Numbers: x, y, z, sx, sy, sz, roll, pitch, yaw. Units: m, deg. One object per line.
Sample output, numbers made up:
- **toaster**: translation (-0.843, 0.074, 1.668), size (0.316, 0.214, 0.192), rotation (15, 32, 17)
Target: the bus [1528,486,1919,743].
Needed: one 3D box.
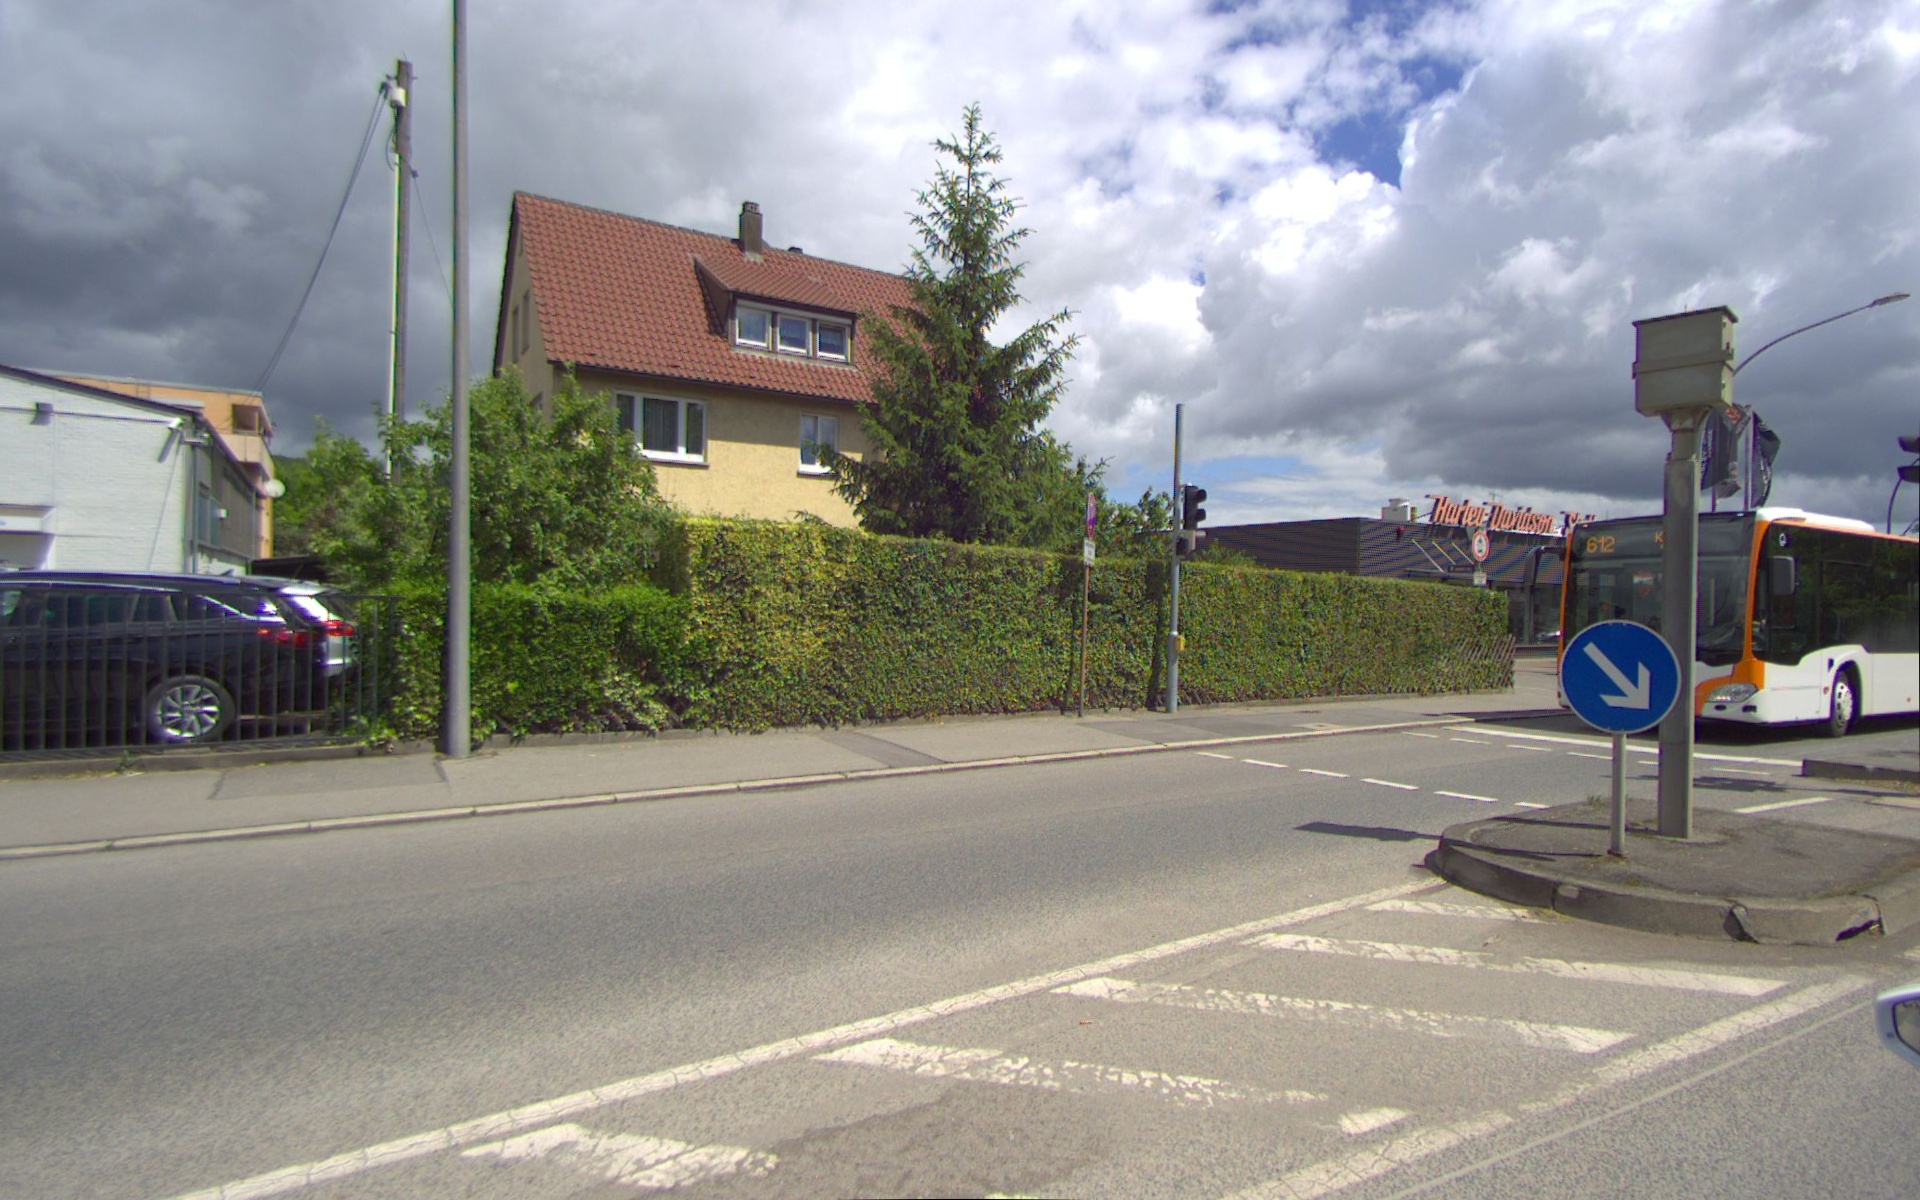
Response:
- **bus**: translation (14.009, 0.361, 16.257), size (12.123, 3.071, 2.706), rotation (2, -1, -31)

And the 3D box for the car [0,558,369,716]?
- **car**: translation (-9.022, 0.389, 11.355), size (3.953, 1.561, 1.984), rotation (2, 0, -30)

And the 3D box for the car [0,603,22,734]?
- **car**: translation (-16.715, 1.035, 14.695), size (3.953, 2.040, 1.984), rotation (2, 0, -30)

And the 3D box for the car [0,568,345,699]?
- **car**: translation (-10.729, 0.429, 13.627), size (3.953, 1.569, 1.984), rotation (2, 0, -30)

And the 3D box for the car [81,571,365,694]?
- **car**: translation (-13.328, 0.583, 18.524), size (3.953, 2.040, 1.984), rotation (2, 0, -30)

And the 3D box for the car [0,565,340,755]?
- **car**: translation (-7.862, 0.471, 8.851), size (3.997, 1.502, 1.850), rotation (2, 0, -31)

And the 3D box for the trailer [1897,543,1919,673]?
- **trailer**: translation (36.823, 0.456, 36.054), size (15.429, 4.107, 2.775), rotation (2, 0, -40)

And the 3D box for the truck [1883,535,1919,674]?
- **truck**: translation (31.299, 0.227, 31.377), size (6.448, 4.107, 2.775), rotation (2, 0, -40)

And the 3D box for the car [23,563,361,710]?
- **car**: translation (-11.832, 0.556, 15.880), size (3.953, 2.040, 1.984), rotation (2, 0, -30)

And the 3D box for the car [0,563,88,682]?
- **car**: translation (-17.992, 0.341, 17.420), size (3.953, 2.040, 1.984), rotation (2, 0, -30)
